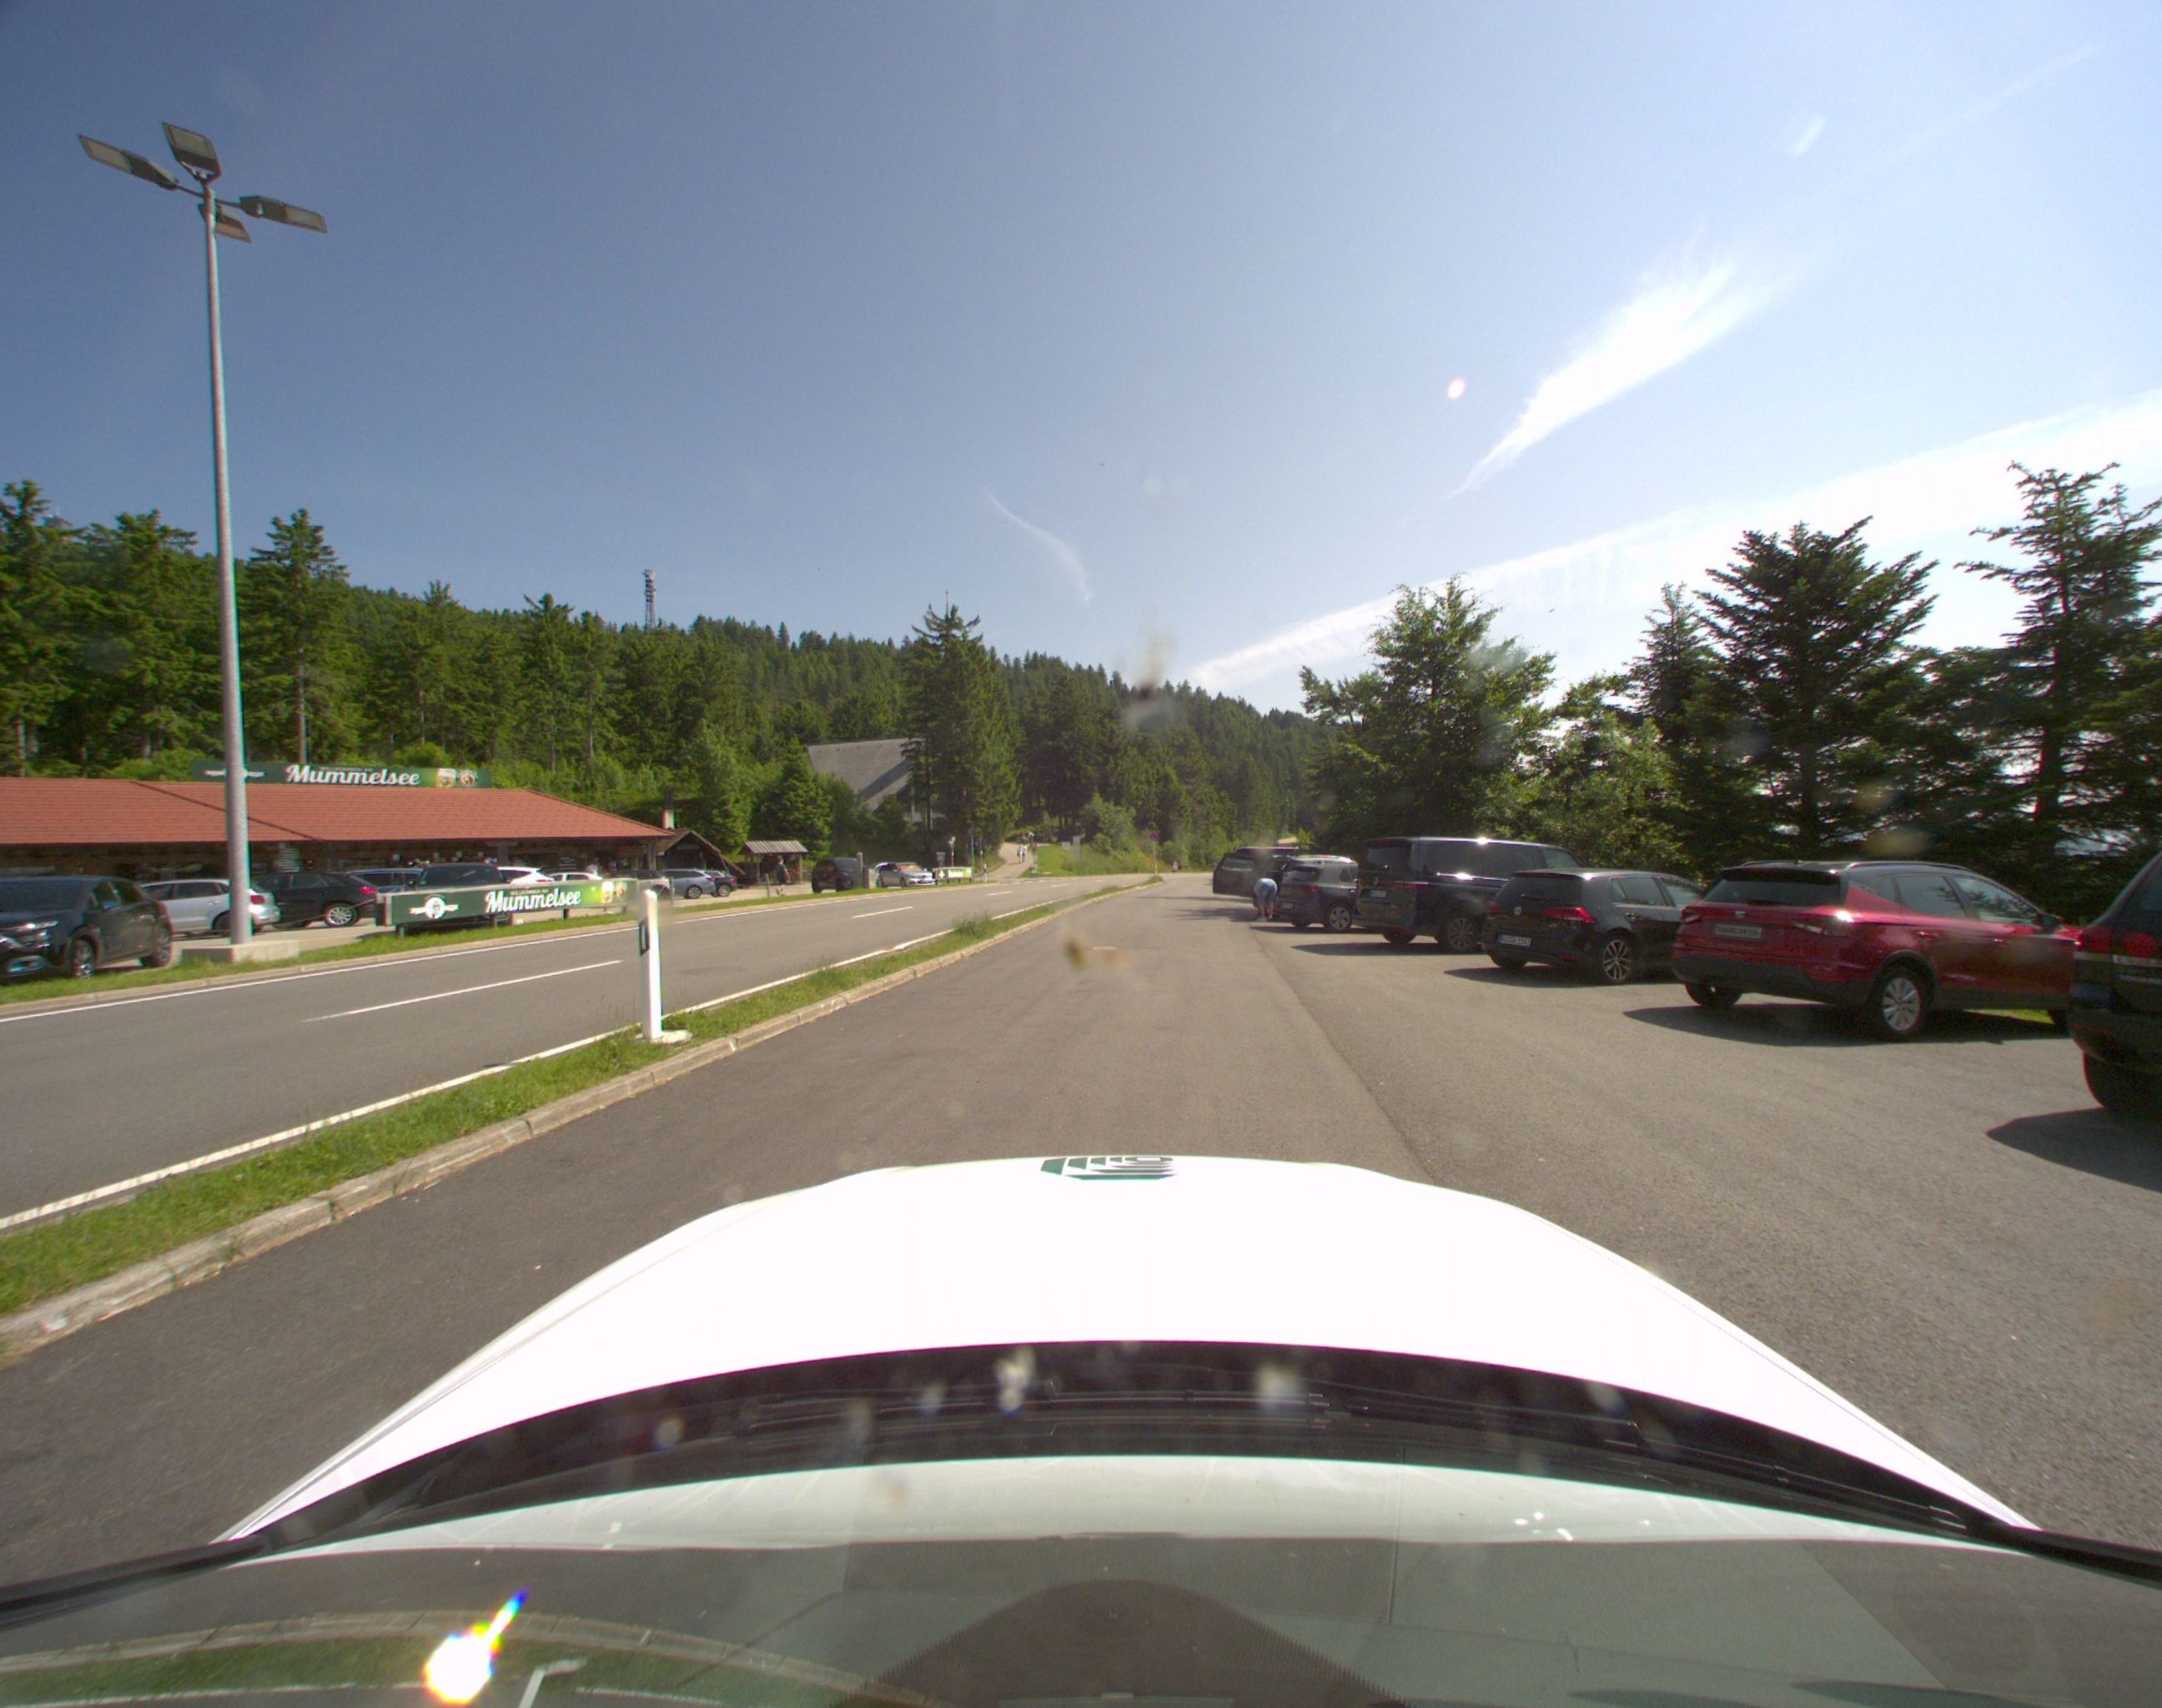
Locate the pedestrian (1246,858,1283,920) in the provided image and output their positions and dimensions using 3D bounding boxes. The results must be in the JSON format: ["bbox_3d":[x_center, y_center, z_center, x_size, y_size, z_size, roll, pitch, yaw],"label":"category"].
[{"bbox_3d":[4.338,0.829,19.225,0.768,1.402,0.672,-2,1,15],"label":"pedestrian"}]

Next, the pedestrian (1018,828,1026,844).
[{"bbox_3d":[-7.179,-2.194,99.468,0.794,2.013,0.940,-2,1,1],"label":"pedestrian"}]

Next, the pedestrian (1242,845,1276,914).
[{"bbox_3d":[4.689,0.665,21.506,0.581,1.761,0.629,2,-1,-22],"label":"pedestrian"}]

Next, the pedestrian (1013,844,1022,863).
[{"bbox_3d":[-5.899,-0.046,75.687,0.650,1.667,0.643,-2,-2,2],"label":"pedestrian"}]

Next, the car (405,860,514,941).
[{"bbox_3d":[-13.844,0.943,18.317,1.748,1.567,4.016,-1,0,-35],"label":"car"}]

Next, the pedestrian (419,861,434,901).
[{"bbox_3d":[-31.048,1.279,38.647,0.531,1.874,0.541,0,-1,-38],"label":"pedestrian"}]

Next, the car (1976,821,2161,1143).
[{"bbox_3d":[7.822,0.729,4.631,4.267,1.694,1.980,1,0,-16],"label":"car"}]

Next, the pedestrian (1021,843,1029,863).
[{"bbox_3d":[-5.282,-0.075,76.394,0.650,1.799,0.643,-1,-1,2],"label":"pedestrian"}]

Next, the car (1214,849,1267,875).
[{"bbox_3d":[12.471,0.605,63.930,3.964,1.719,1.872,3,2,9],"label":"car"}]

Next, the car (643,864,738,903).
[{"bbox_3d":[-19.606,1.439,40.960,4.017,1.618,1.979,-3,1,-34],"label":"car"}]

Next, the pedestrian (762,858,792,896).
[{"bbox_3d":[-14.141,1.063,37.917,0.891,1.734,0.963,-2,1,9],"label":"pedestrian"}]

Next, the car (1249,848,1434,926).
[{"bbox_3d":[6.543,0.823,20.553,3.998,1.662,1.988,4,-1,-19],"label":"car"}]

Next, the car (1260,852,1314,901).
[{"bbox_3d":[9.283,0.962,37.084,1.894,1.972,4.832,3,0,9],"label":"car"}]

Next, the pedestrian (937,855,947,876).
[{"bbox_3d":[-10.715,0.879,62.881,0.574,1.532,0.554,-2,1,8],"label":"pedestrian"}]

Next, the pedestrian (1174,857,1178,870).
[{"bbox_3d":[12.543,1.277,107.776,0.412,1.747,0.458,-2,1,9],"label":"pedestrian"}]

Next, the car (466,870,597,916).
[{"bbox_3d":[-21.181,1.475,31.445,4.045,1.468,1.756,-3,0,-37],"label":"car"}]

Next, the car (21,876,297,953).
[{"bbox_3d":[-21.857,1.368,19.601,4.018,1.420,1.886,-3,1,-36],"label":"car"}]

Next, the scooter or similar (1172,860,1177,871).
[{"bbox_3d":[12.294,1.479,107.158,0.480,1.380,0.819,-2,1,9],"label":"scooter or similar"}]

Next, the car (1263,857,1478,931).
[{"bbox_3d":[6.172,0.842,17.517,3.990,1.443,1.832,1,0,-13],"label":"car"}]

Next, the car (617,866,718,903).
[{"bbox_3d":[-19.438,1.420,38.324,4.017,1.419,1.666,-3,-1,-35],"label":"car"}]

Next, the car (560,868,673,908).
[{"bbox_3d":[-19.894,1.420,34.917,4.017,1.419,1.666,-3,-1,-35],"label":"car"}]

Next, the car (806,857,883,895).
[{"bbox_3d":[-10.889,1.013,37.380,1.799,1.634,4.160,0,-1,-41],"label":"car"}]

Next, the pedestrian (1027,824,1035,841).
[{"bbox_3d":[-6.194,-2.650,100.514,0.812,2.013,0.853,-2,1,0],"label":"pedestrian"}]

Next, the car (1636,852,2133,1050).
[{"bbox_3d":[7.890,0.830,8.084,3.997,1.589,1.853,1,0,-17],"label":"car"}]

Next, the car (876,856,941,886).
[{"bbox_3d":[-9.195,0.899,43.207,1.752,1.441,3.925,-3,1,-38],"label":"car"}]

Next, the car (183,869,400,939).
[{"bbox_3d":[-21.645,1.307,22.594,4.018,1.574,1.978,-3,1,-36],"label":"car"}]

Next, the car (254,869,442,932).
[{"bbox_3d":[-22.196,1.351,24.903,4.018,1.574,1.978,-3,1,-36],"label":"car"}]

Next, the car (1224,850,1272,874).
[{"bbox_3d":[14.627,0.663,71.210,3.962,1.814,1.946,3,2,11],"label":"car"}]

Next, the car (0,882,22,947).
[{"bbox_3d":[-27.820,1.554,18.587,4.020,1.574,1.977,-3,1,-39],"label":"car"}]

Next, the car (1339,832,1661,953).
[{"bbox_3d":[7.182,0.654,14.156,4.758,1.880,1.960,1,0,-10],"label":"car"}]

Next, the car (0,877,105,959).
[{"bbox_3d":[-22.833,1.366,16.156,4.017,1.545,1.879,-3,1,-35],"label":"car"}]

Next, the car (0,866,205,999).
[{"bbox_3d":[-14.467,1.007,11.437,1.788,1.552,3.962,-2,1,-30],"label":"car"}]

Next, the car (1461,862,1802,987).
[{"bbox_3d":[7.389,0.882,10.987,3.998,1.415,1.734,1,0,-19],"label":"car"}]

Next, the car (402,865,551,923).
[{"bbox_3d":[-21.133,1.358,28.625,4.050,1.672,1.756,-3,0,-37],"label":"car"}]

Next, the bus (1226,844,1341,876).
[{"bbox_3d":[23.848,0.658,96.249,12.743,3.578,2.999,0,2,25],"label":"bus"}]

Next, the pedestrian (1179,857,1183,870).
[{"bbox_3d":[13.232,1.247,107.929,0.392,1.747,0.407,-2,1,14],"label":"pedestrian"}]
